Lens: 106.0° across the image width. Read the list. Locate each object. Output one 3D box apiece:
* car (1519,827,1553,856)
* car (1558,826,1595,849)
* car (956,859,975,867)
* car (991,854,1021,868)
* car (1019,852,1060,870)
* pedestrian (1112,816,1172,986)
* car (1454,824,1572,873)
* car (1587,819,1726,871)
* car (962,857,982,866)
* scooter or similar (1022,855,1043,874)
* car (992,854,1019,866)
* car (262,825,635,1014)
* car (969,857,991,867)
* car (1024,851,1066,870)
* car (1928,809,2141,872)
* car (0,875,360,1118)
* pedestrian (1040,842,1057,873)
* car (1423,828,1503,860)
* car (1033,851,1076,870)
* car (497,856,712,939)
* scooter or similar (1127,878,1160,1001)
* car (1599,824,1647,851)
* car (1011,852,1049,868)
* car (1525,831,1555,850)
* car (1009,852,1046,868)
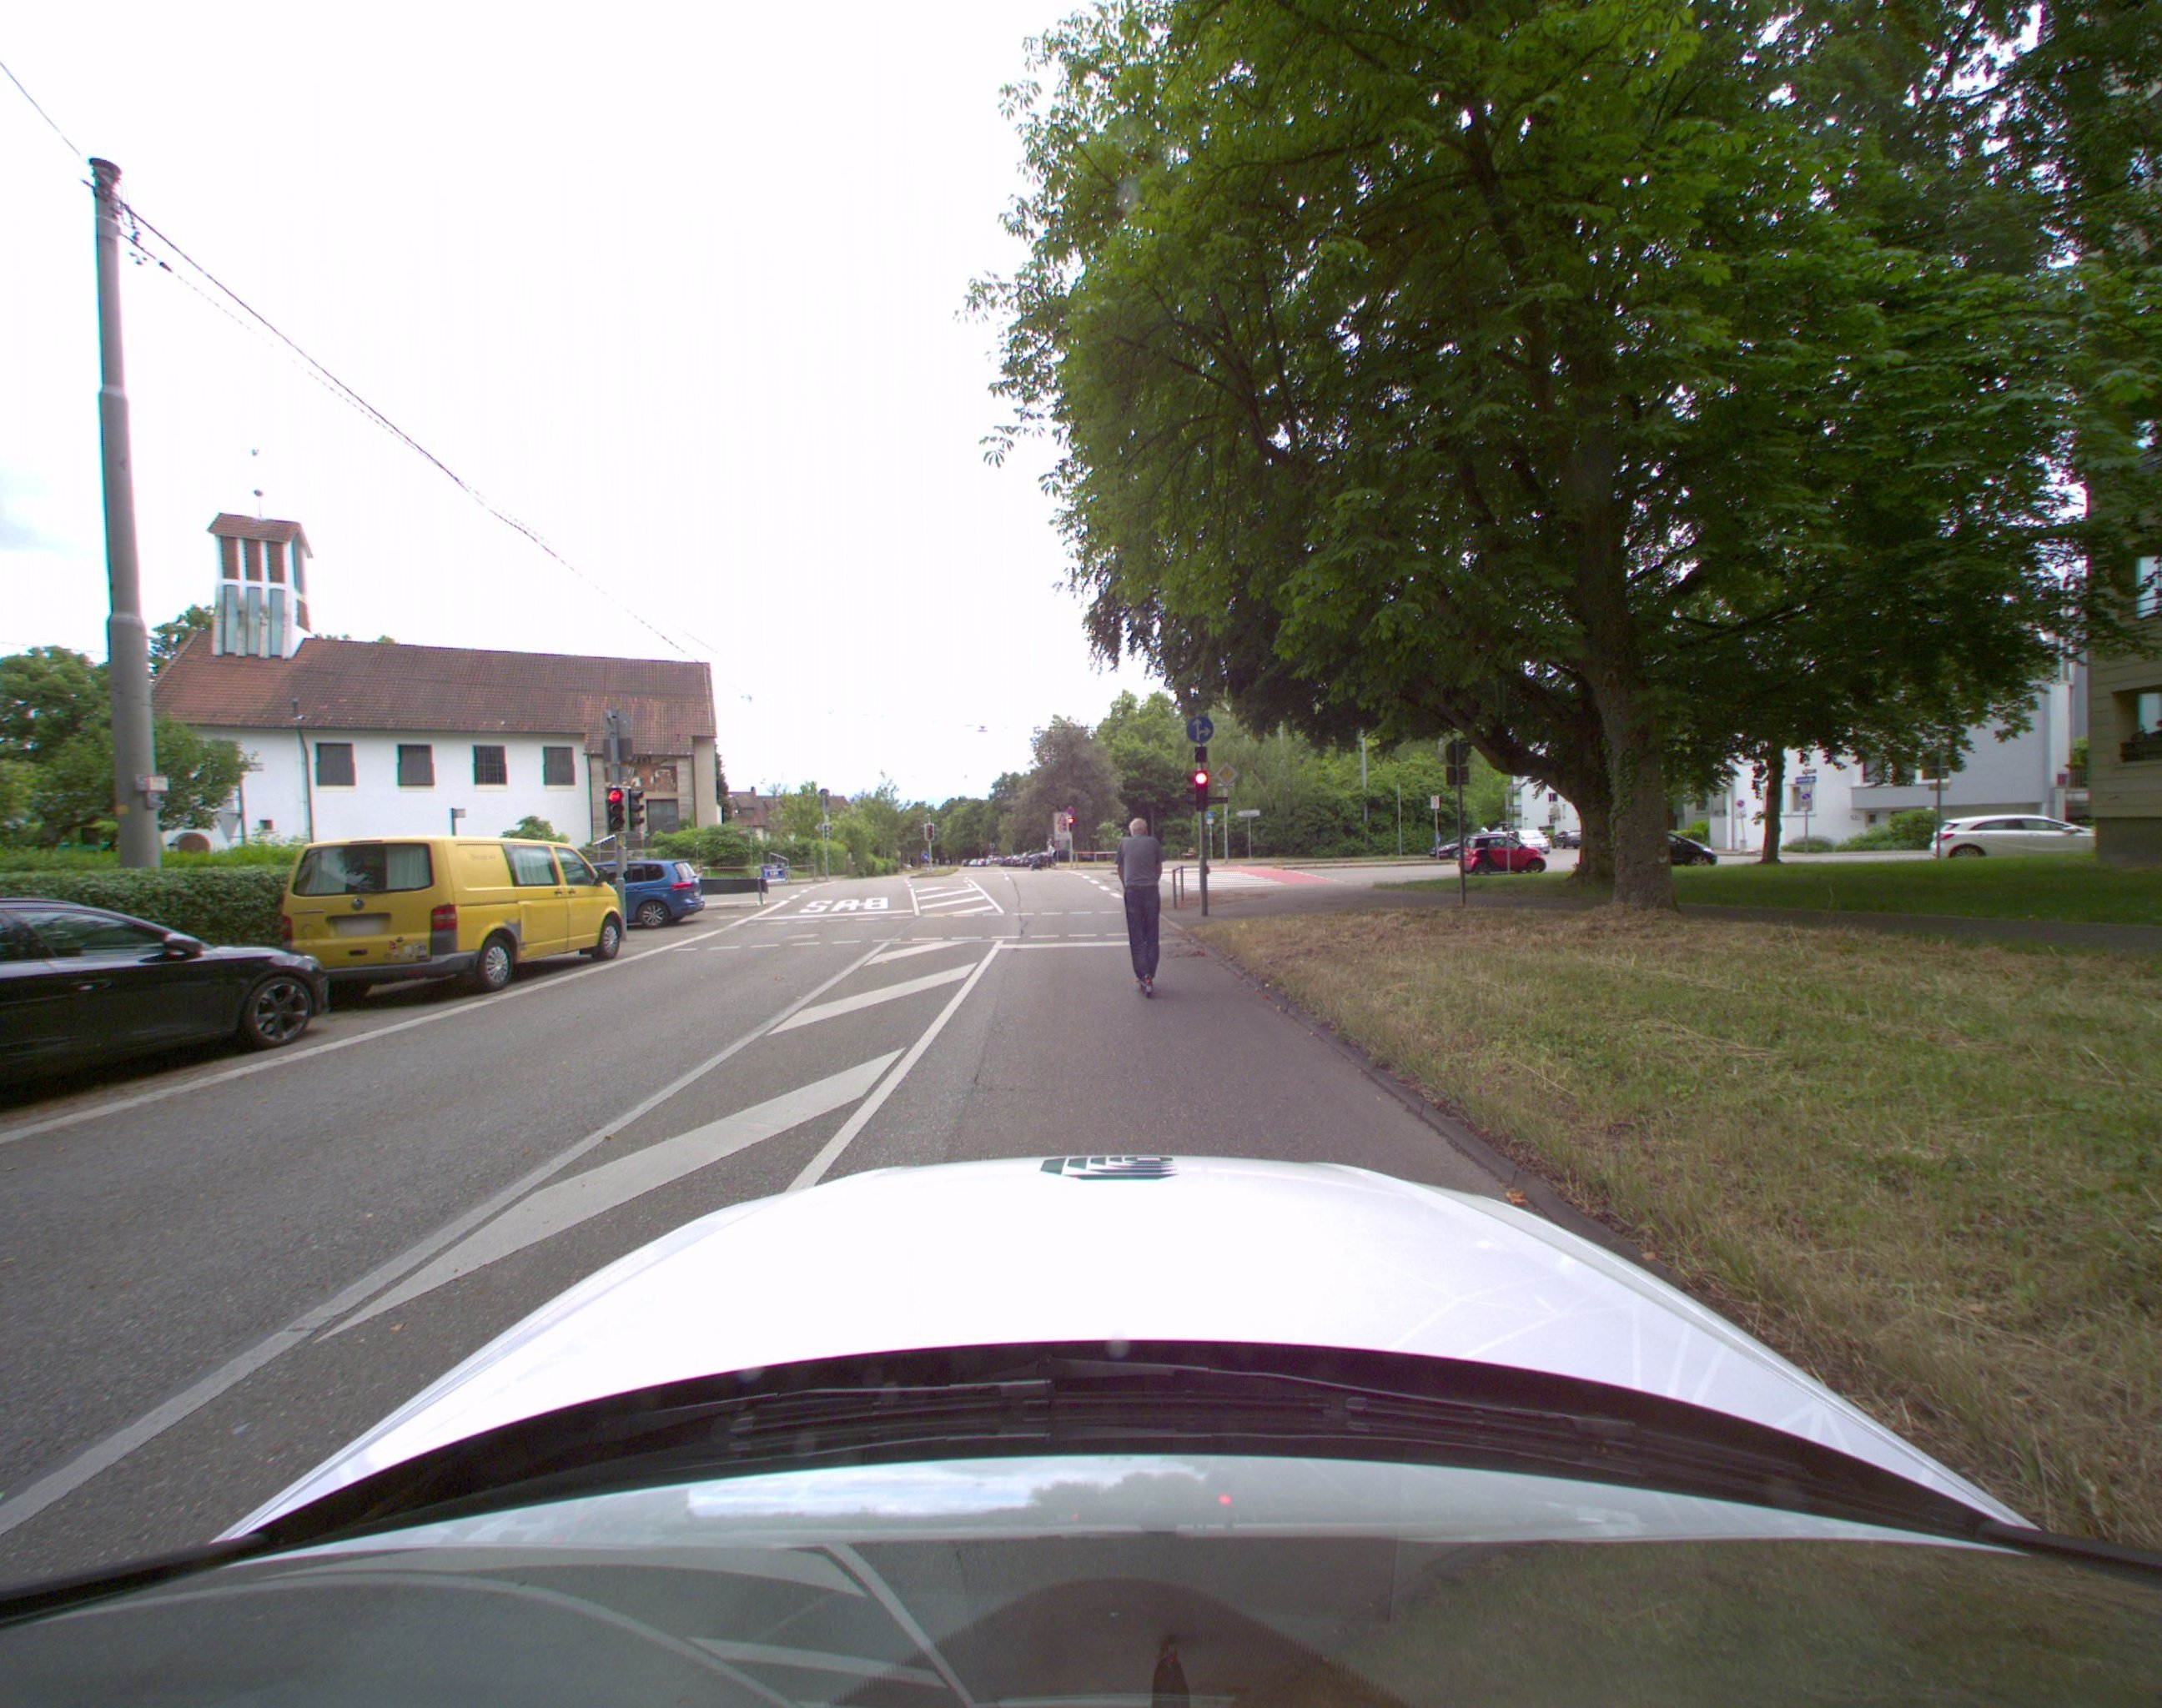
[{"bbox_3d":[28.214,-0.776,50.488,1.706,1.610,3.878,-3,0,29],"label":"car"},{"bbox_3d":[38.202,-1.266,62.882,1.708,1.610,3.874,-3,0,21],"label":"car"},{"bbox_3d":[-25.775,1.981,181.057,3.857,1.610,1.715,-3,0,-22],"label":"car"},{"bbox_3d":[-10.575,0.991,114.349,3.857,1.610,1.715,-3,0,-22],"label":"car"},{"bbox_3d":[-4.363,0.684,84.665,3.857,1.610,1.715,-3,0,-22],"label":"car"},{"bbox_3d":[0.664,0.506,8.972,0.570,1.813,0.420,-2,0,2],"label":"pedestrian"},{"bbox_3d":[16.241,-0.207,30.777,3.500,1.610,1.731,-3,0,6],"label":"car"},{"bbox_3d":[20.571,-0.314,29.284,3.805,1.610,1.739,-3,0,27],"label":"car"},{"bbox_3d":[-22.868,1.654,171.383,3.857,1.610,1.715,-3,0,-22],"label":"car"},{"bbox_3d":[-2.943,0.617,49.173,1.110,1.081,0.574,-3,0,-16],"label":"scooter or similar"},{"bbox_3d":[-11.841,0.982,127.332,3.857,1.610,1.715,-3,0,-22],"label":"car"},{"bbox_3d":[-8.304,0.717,11.392,1.881,2.013,4.557,-3,0,-6],"label":"car"},{"bbox_3d":[-20.342,1.612,164.059,3.857,1.610,1.715,-3,0,-22],"label":"car"},{"bbox_3d":[-3.637,0.665,82.116,3.858,1.610,1.715,-3,0,-23],"label":"car"},{"bbox_3d":[27.684,-0.361,23.864,3.804,1.610,1.739,-3,0,42],"label":"car"},{"bbox_3d":[-7.872,0.999,5.682,1.686,1.485,4.539,-3,0,-2],"label":"car"},{"bbox_3d":[-1.987,0.210,49.451,0.885,1.862,0.571,-2,0,-15],"label":"pedestrian"},{"bbox_3d":[20.631,-0.539,44.084,3.499,1.530,1.732,-3,0,7],"label":"car"},{"bbox_3d":[-2.598,0.629,80.136,3.855,1.610,1.716,-3,0,-20],"label":"car"},{"bbox_3d":[-11.188,0.980,19.432,3.993,1.610,1.809,-3,0,-15],"label":"car"},{"bbox_3d":[0.682,0.882,8.812,0.280,1.178,1.178,-2,0,5],"label":"scooter or similar"},{"bbox_3d":[34.966,-1.074,52.624,1.708,1.610,3.874,-3,0,21],"label":"car"},{"bbox_3d":[-5.794,0.661,92.028,3.857,1.610,1.715,-3,0,-22],"label":"car"},{"bbox_3d":[41.871,-1.250,74.350,1.708,1.610,3.874,-3,0,21],"label":"car"},{"bbox_3d":[-6.162,0.675,94.444,3.857,1.610,1.715,-3,0,-22],"label":"car"}]
